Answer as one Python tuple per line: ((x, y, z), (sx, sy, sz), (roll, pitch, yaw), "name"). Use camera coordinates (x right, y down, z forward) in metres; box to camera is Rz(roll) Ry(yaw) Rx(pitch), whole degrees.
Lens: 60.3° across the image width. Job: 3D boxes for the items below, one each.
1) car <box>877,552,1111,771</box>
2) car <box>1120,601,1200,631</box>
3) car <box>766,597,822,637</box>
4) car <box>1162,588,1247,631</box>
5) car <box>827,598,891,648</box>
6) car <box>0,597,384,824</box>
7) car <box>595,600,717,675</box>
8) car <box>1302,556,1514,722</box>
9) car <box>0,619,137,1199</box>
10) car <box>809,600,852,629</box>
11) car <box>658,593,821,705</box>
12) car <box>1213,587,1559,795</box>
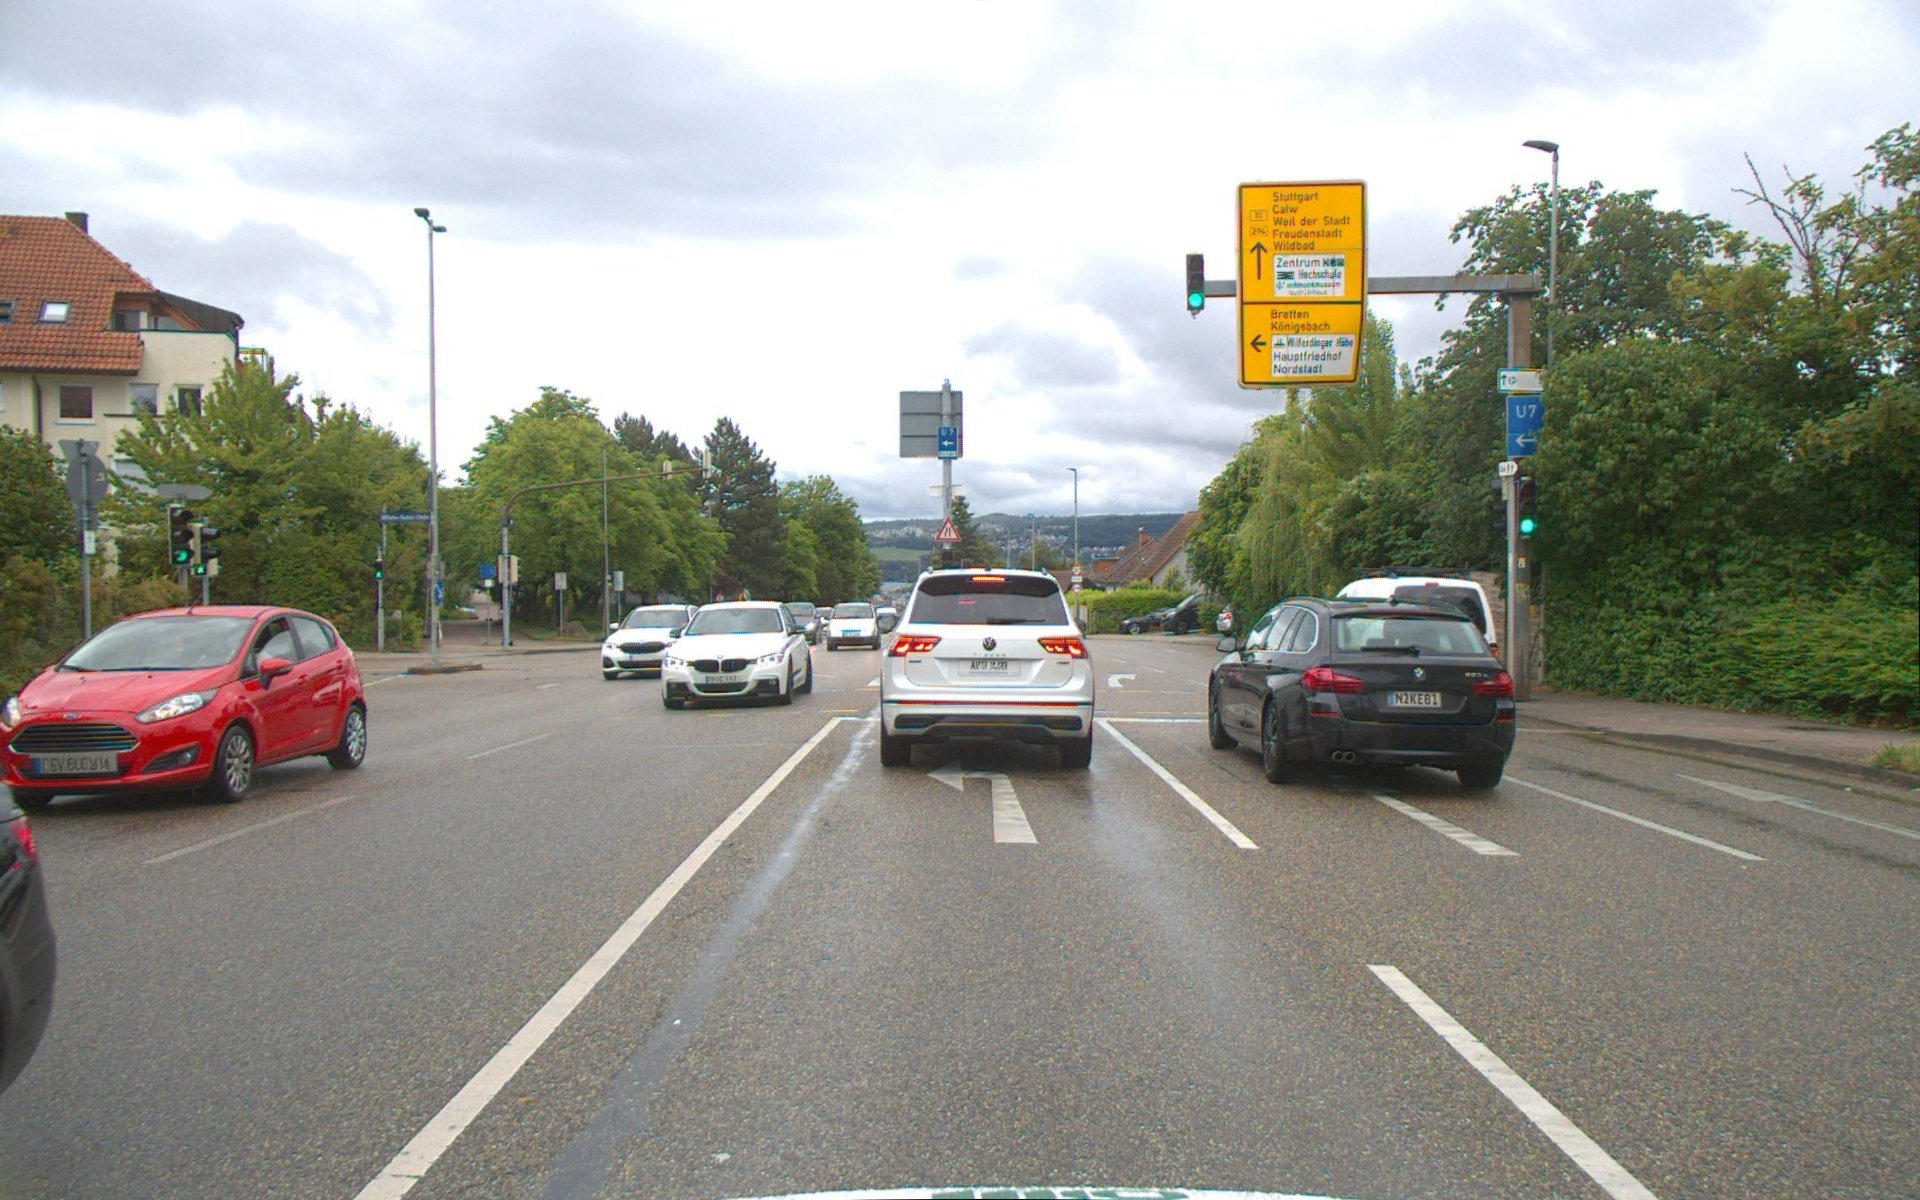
((0.258, 0.504, 14.994), (1.830, 1.703, 3.999), (0, -1, 0), "car")
((10.172, 0.804, 84.345), (3.903, 1.400, 1.586), (1, 0, 3), "car")
((-6.446, 0.632, 64.682), (1.738, 1.484, 4.549), (-1, 0, 0), "car")
((11.731, 0.460, 79.502), (3.903, 1.990, 1.586), (1, 0, 3), "car")
((-3.188, 0.711, 52.897), (1.738, 1.484, 4.549), (-1, 0, 0), "car")
((-6.059, 0.758, 13.221), (1.599, 1.482, 3.701), (-2, 0, -1), "car")
((-6.264, 0.737, 34.552), (1.738, 1.409, 4.549), (-1, 0, -1), "car")
((5.841, 0.428, 22.016), (1.728, 1.909, 3.806), (0, 3, -1), "car")
((-3.166, 0.806, 2.302), (1.854, 1.428, 4.264), (-1, 0, 0), "car")
((-6.123, 0.659, 78.565), (1.616, 1.295, 3.622), (0, 0, 2), "car")
((-3.127, 0.641, 24.289), (1.713, 1.409, 4.411), (-2, 0, 0), "car")
((3.401, 0.670, 14.014), (1.860, 1.467, 3.999), (1, 0, 0), "car")
